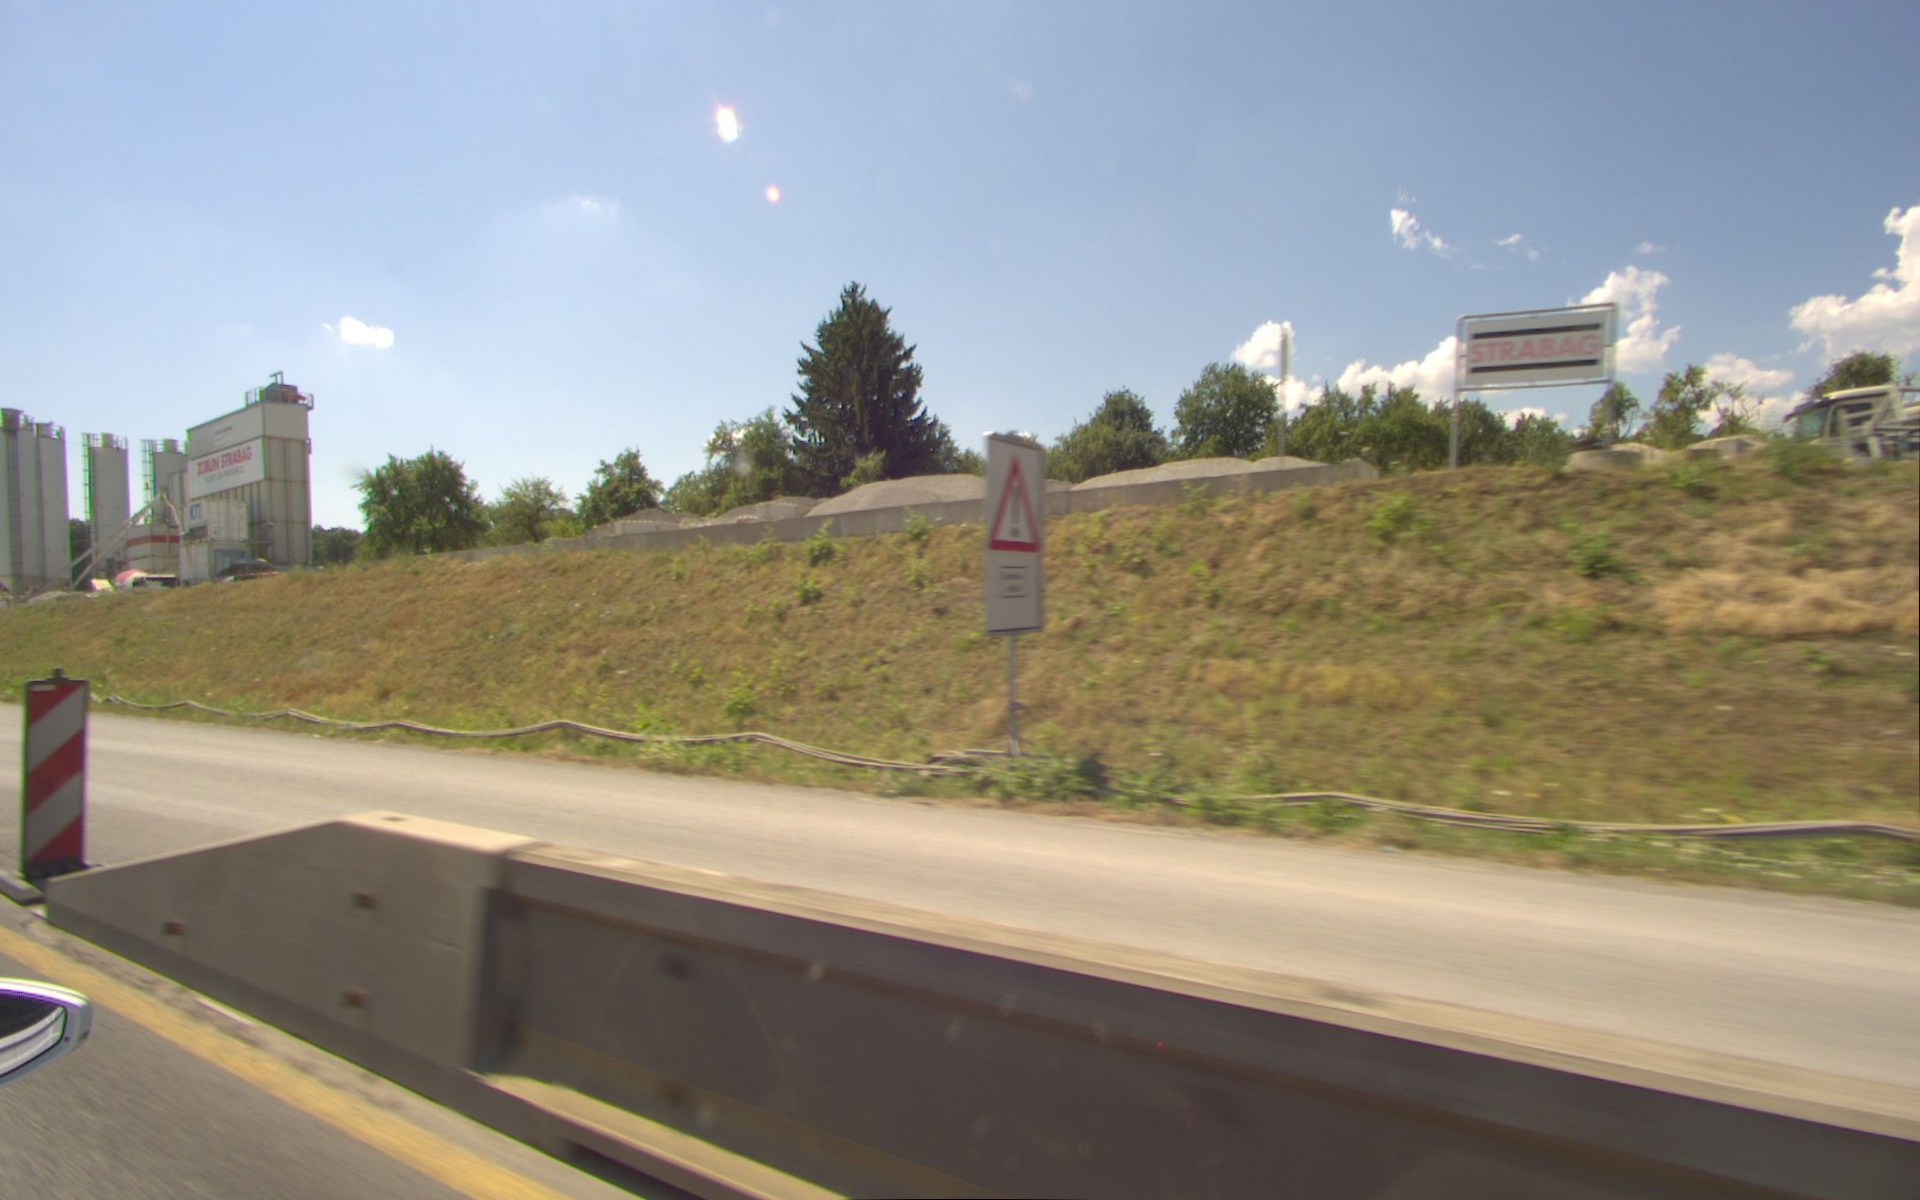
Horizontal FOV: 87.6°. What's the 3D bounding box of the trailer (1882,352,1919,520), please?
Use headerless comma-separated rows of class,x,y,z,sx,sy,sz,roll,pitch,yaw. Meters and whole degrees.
trailer,28.362,-4.393,25.492,6.634,4.168,2.757,-1,0,24

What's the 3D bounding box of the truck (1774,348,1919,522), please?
truck,24.978,-4.375,27.040,4.032,4.149,2.746,-1,0,24

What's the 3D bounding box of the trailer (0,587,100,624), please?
trailer,-86.091,0.560,92.995,3.272,3.271,9.011,-1,-1,18

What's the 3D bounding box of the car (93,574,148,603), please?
car,-63.495,-0.842,75.743,4.365,2.040,1.989,-1,0,33

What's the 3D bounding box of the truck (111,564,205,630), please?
truck,-56.668,-0.093,70.654,9.812,4.352,3.419,-1,-1,41

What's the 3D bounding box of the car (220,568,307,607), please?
car,-38.485,-0.646,55.292,4.922,2.040,2.218,-1,-1,33
